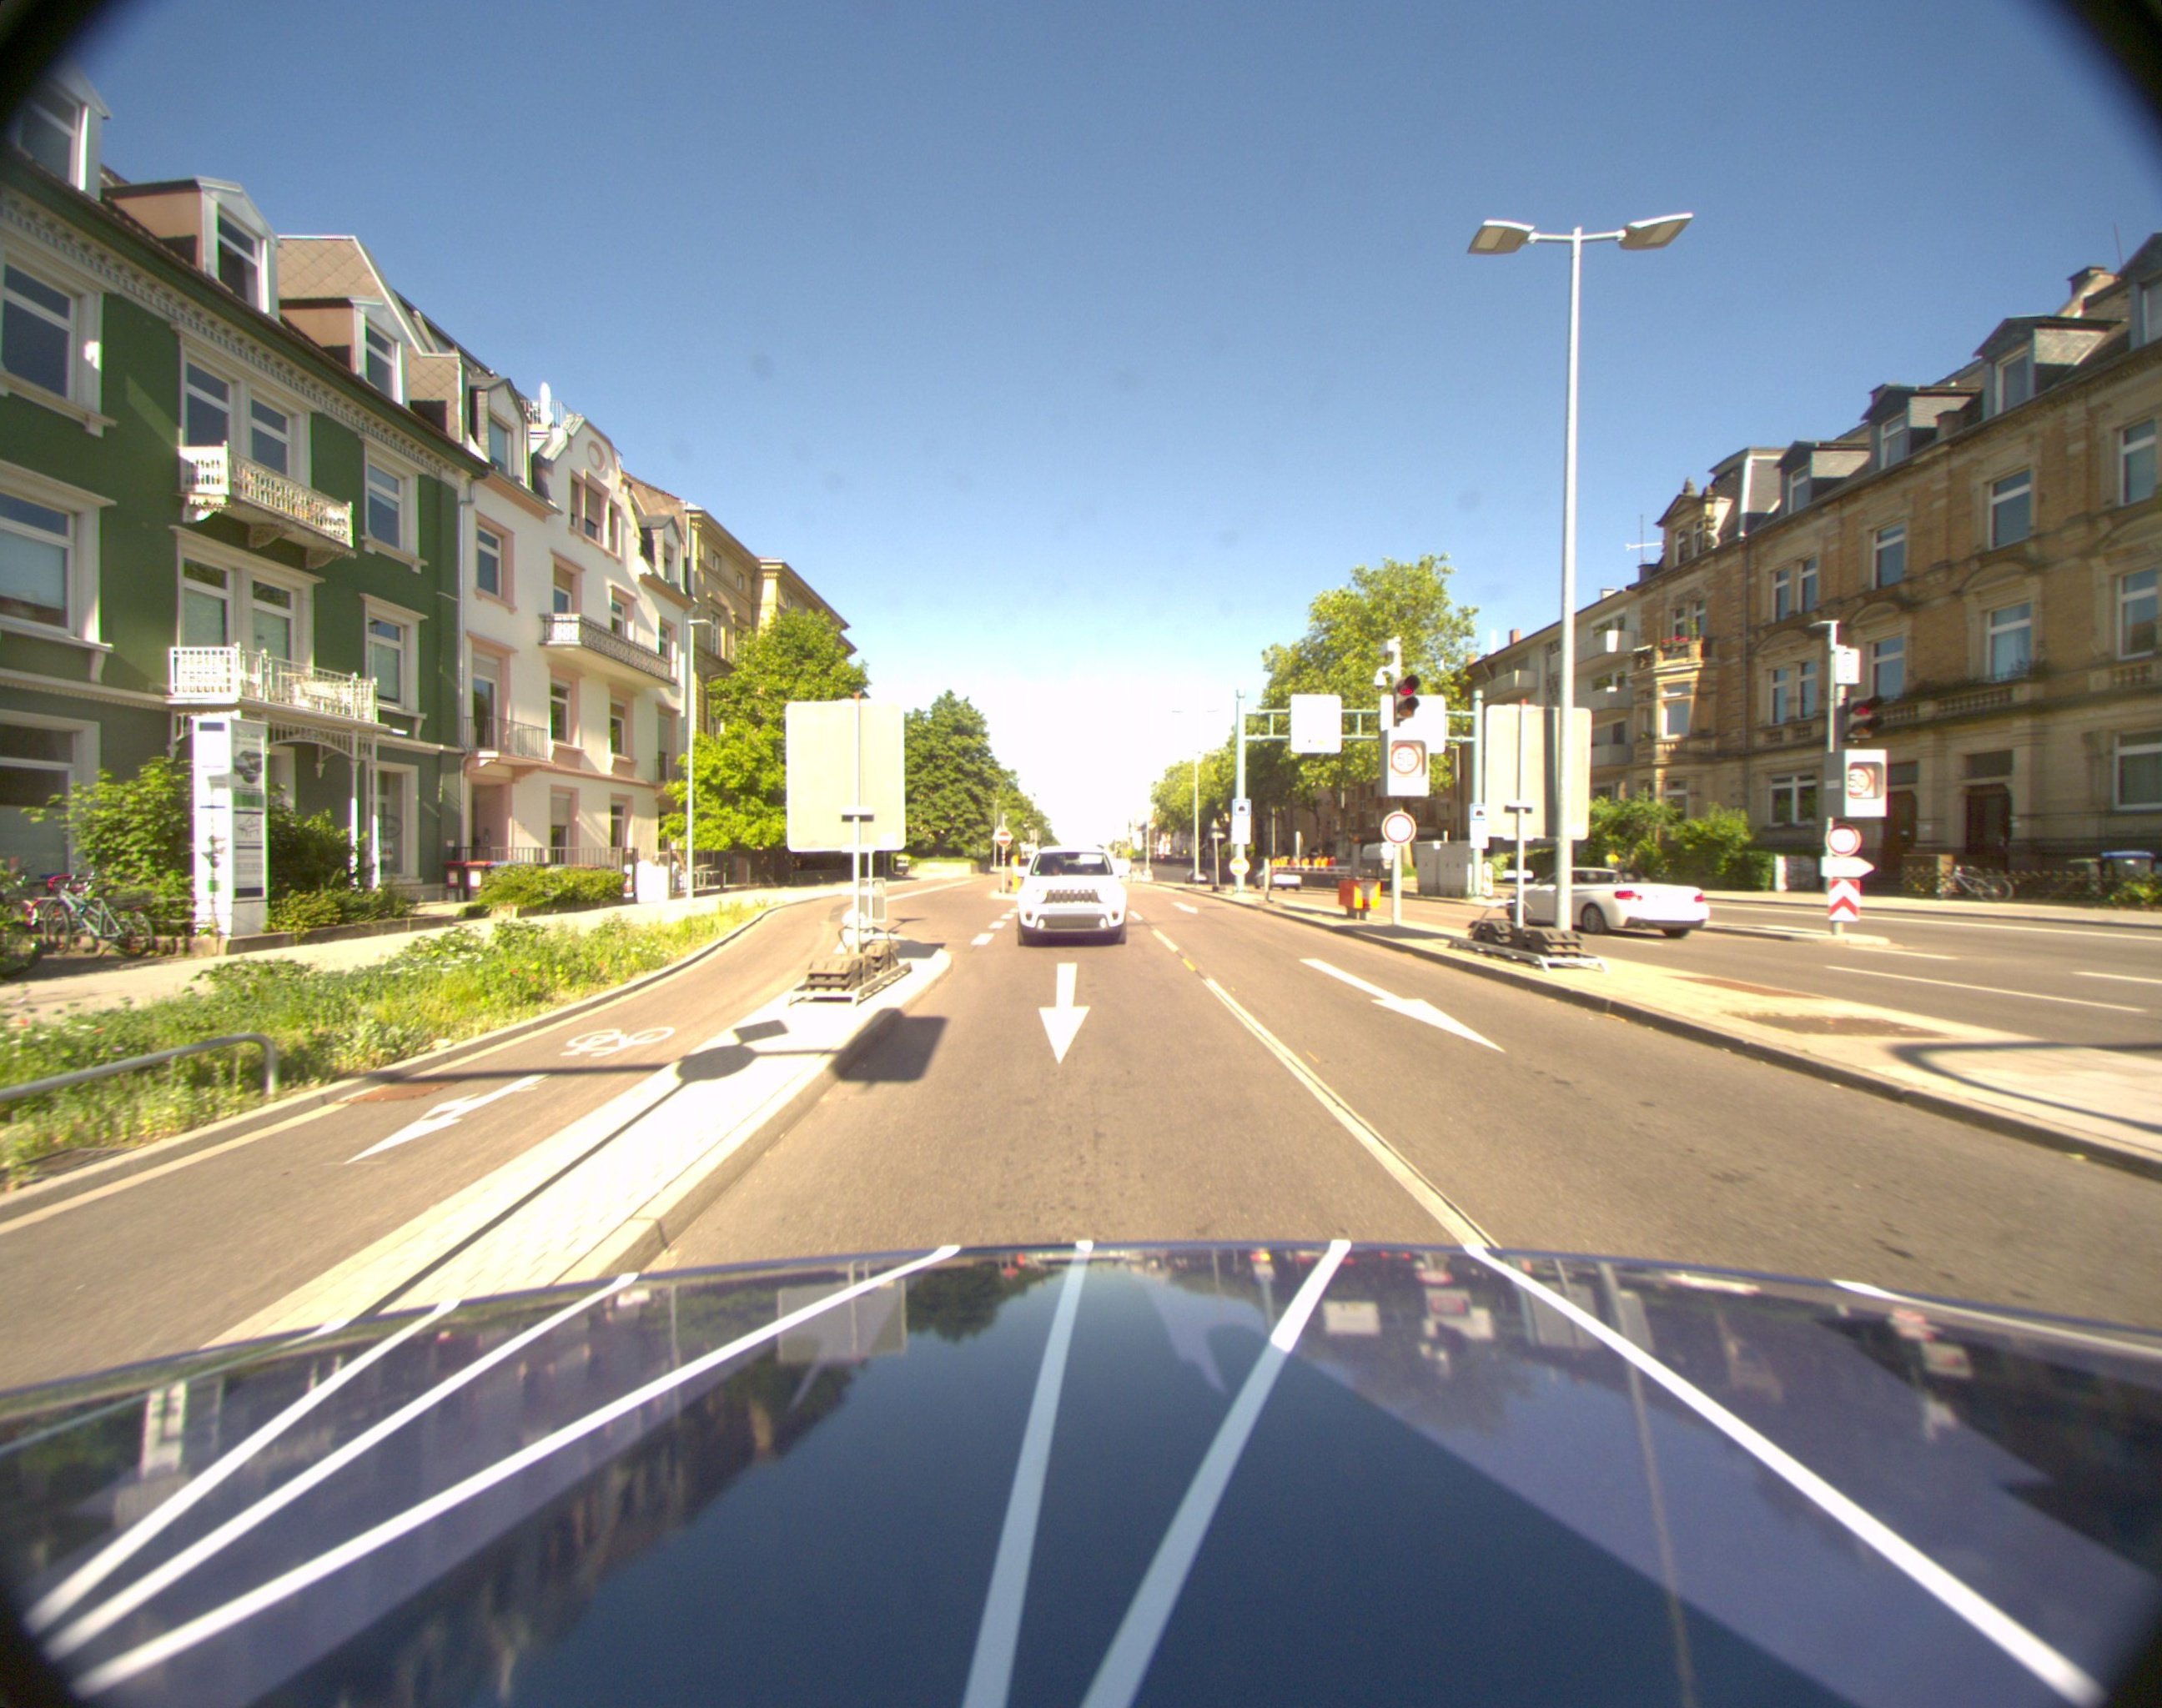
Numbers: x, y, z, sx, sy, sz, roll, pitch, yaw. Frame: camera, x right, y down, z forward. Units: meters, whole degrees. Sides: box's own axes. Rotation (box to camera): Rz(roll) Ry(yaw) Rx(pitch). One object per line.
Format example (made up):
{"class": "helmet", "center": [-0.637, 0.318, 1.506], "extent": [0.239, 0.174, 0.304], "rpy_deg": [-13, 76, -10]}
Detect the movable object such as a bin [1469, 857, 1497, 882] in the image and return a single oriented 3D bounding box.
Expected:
{"class": "movable object such as a bin", "center": [23.175, 0.889, 43.822], "extent": [0.895, 1.354, 1.315], "rpy_deg": [2, -1, 0]}

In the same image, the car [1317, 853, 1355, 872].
{"class": "car", "center": [22.190, 0.734, 66.200], "extent": [1.998, 1.570, 4.001], "rpy_deg": [2, -1, 1]}

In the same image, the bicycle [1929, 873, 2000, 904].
{"class": "bicycle", "center": [23.796, 0.916, 20.496], "extent": [0.299, 0.766, 1.414], "rpy_deg": [0, 0, 1]}

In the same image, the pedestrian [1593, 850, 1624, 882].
{"class": "pedestrian", "center": [23.061, 0.525, 33.243], "extent": [0.568, 1.369, 1.090], "rpy_deg": [-1, 0, -1]}

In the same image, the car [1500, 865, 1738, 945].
{"class": "car", "center": [10.954, 0.951, 15.949], "extent": [1.936, 1.338, 4.315], "rpy_deg": [0, 1, 0]}

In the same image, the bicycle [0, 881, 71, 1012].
{"class": "bicycle", "center": [-13.486, 1.074, 8.947], "extent": [2.260, 1.476, 0.638], "rpy_deg": [0, 0, -1]}

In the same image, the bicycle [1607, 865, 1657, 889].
{"class": "bicycle", "center": [23.676, 0.980, 32.684], "extent": [0.468, 0.999, 2.250], "rpy_deg": [-2, -1, -1]}

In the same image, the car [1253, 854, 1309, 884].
{"class": "car", "center": [11.315, 0.902, 43.281], "extent": [1.998, 1.443, 4.393], "rpy_deg": [-3, -3, 0]}

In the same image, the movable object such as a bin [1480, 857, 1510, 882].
{"class": "movable object such as a bin", "center": [23.104, 0.868, 42.430], "extent": [0.895, 1.352, 1.474], "rpy_deg": [2, -1, 2]}

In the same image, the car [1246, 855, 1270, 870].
{"class": "car", "center": [17.678, 0.869, 76.084], "extent": [1.632, 1.478, 3.690], "rpy_deg": [-1, 0, 0]}

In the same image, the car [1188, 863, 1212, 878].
{"class": "car", "center": [11.579, 1.587, 74.166], "extent": [1.611, 1.432, 4.311], "rpy_deg": [3, -1, 0]}

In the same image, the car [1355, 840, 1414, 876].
{"class": "car", "center": [22.128, 0.334, 55.688], "extent": [2.250, 2.431, 5.288], "rpy_deg": [2, -1, 1]}

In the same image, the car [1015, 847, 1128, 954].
{"class": "car", "center": [-0.159, 0.770, 13.708], "extent": [1.744, 1.647, 3.690], "rpy_deg": [-1, -1, -1]}

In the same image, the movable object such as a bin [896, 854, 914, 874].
{"class": "movable object such as a bin", "center": [-12.443, 0.717, 53.663], "extent": [0.975, 1.389, 1.285], "rpy_deg": [2, -1, -23]}

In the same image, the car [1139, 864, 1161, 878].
{"class": "car", "center": [8.475, 2.127, 93.658], "extent": [1.999, 1.443, 4.620], "rpy_deg": [4, -3, -1]}
